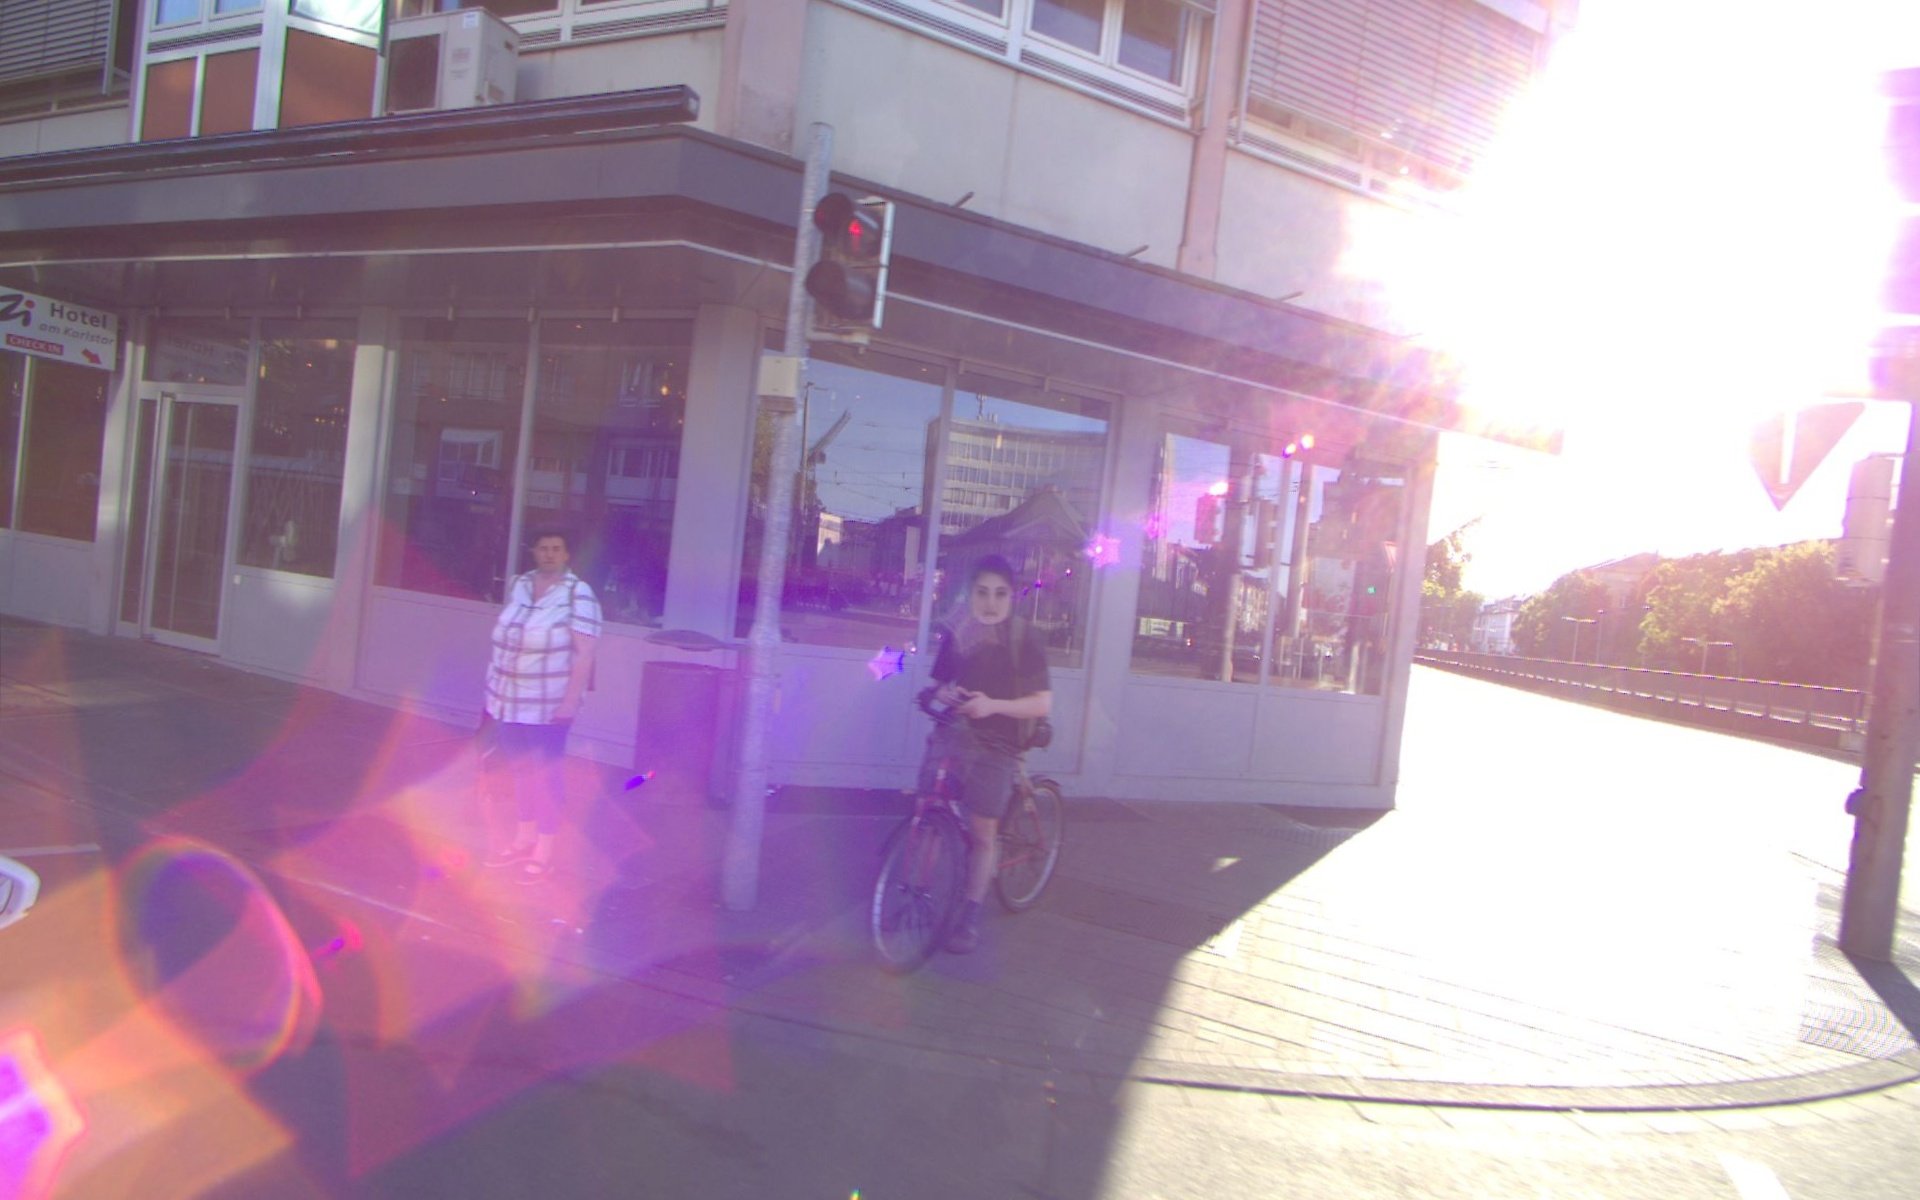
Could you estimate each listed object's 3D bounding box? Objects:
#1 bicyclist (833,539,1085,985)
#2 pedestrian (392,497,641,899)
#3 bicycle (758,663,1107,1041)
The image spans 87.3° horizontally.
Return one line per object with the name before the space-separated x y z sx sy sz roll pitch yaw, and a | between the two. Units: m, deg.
bicyclist | 0.014 0.644 4.365 0.754 1.699 0.637 7 1 19
pedestrian | -2.055 0.412 4.701 0.754 1.686 0.636 6 5 13
bicycle | 0.032 0.920 4.527 0.754 1.138 2.176 7 0 19
